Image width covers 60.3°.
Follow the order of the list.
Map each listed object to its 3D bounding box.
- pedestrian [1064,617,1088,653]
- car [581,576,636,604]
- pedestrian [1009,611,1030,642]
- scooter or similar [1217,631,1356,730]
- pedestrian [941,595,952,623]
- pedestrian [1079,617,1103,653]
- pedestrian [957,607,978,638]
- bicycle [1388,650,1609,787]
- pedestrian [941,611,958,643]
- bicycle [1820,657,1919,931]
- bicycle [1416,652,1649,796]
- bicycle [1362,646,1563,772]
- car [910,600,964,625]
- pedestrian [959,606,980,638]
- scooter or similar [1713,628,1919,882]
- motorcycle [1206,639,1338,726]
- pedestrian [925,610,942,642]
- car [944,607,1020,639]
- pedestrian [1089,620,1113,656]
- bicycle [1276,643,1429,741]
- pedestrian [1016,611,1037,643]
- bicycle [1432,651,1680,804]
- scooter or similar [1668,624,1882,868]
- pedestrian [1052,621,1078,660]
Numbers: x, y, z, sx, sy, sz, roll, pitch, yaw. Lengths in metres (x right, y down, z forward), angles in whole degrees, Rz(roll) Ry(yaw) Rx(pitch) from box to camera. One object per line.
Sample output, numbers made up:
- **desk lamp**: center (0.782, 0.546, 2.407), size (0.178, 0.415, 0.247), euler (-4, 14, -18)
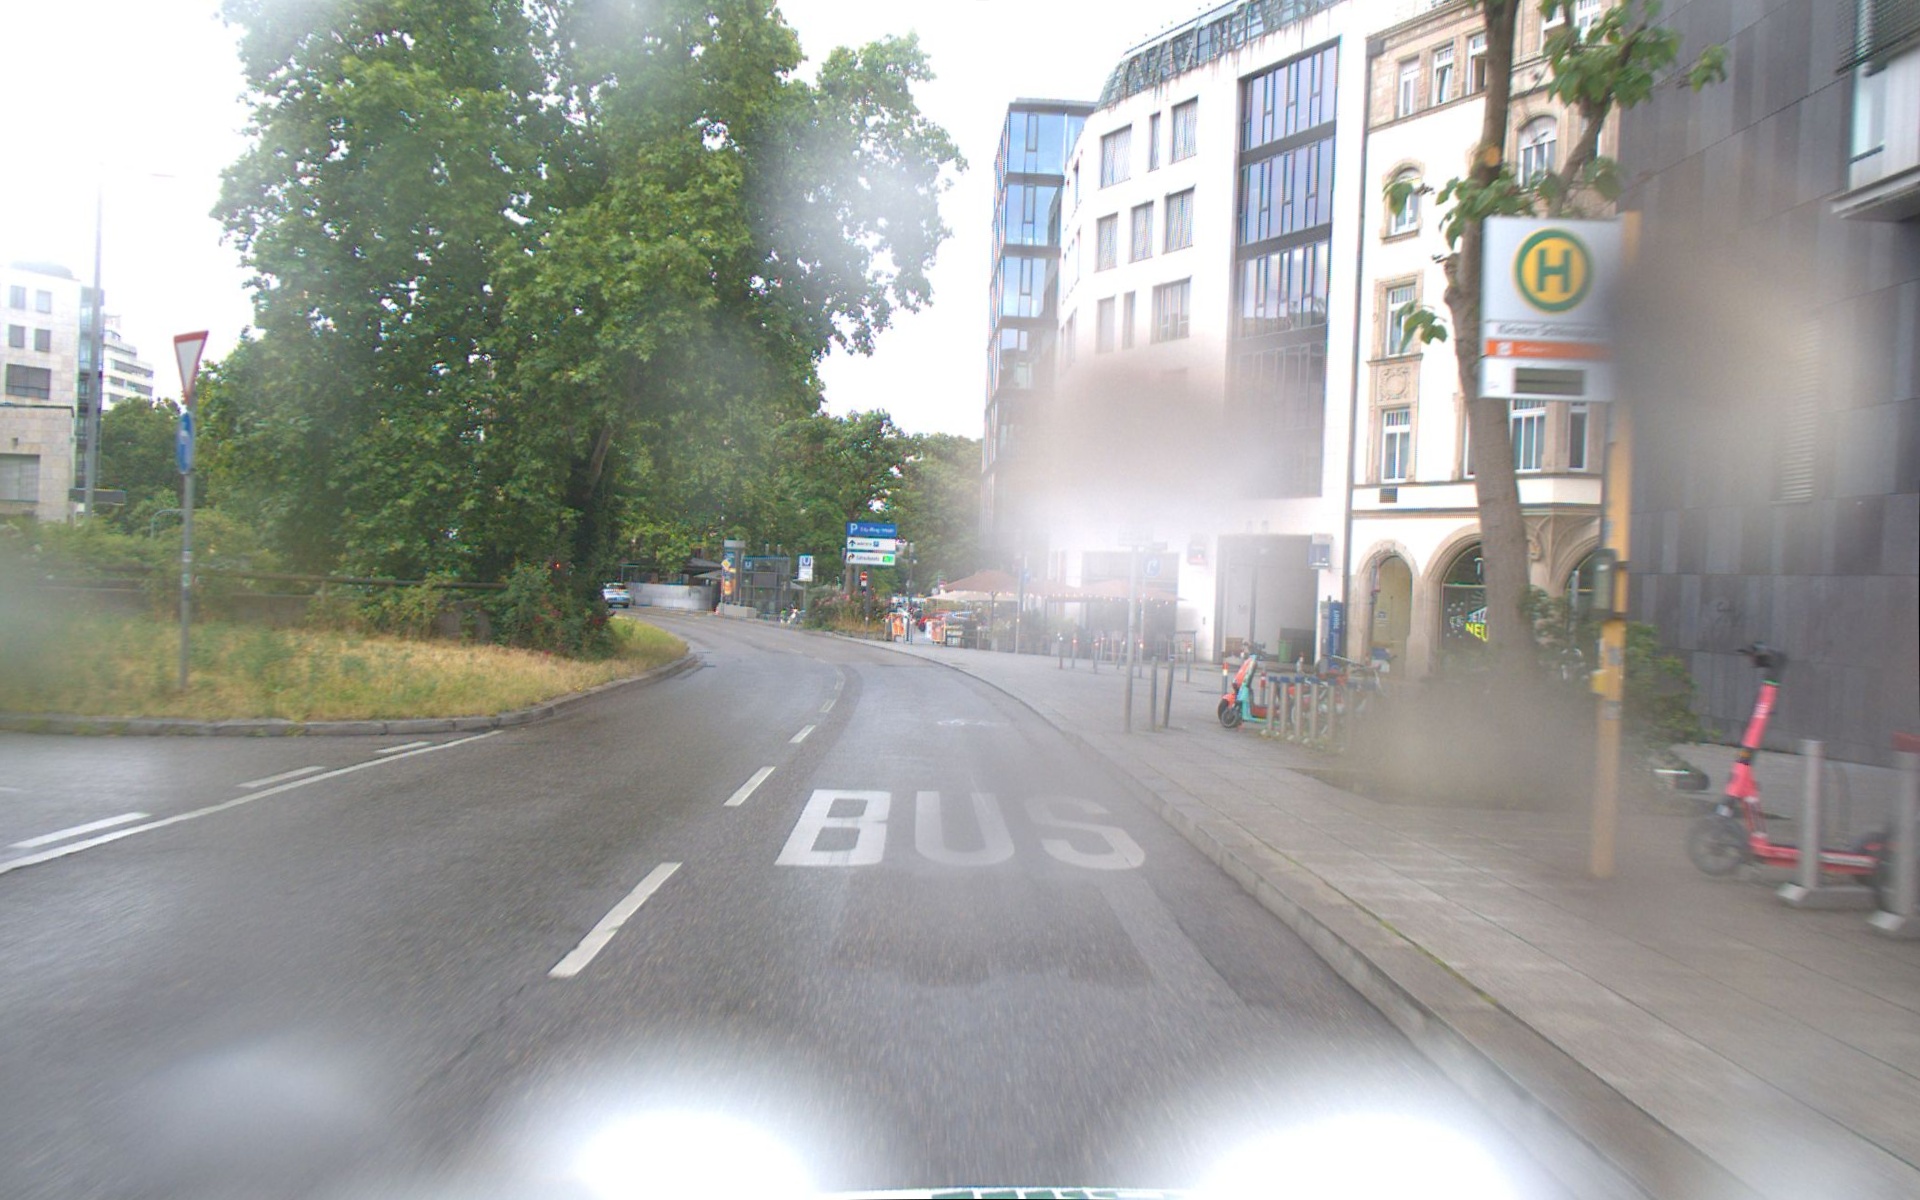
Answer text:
- **pedestrian**: center (4.606, 1.382, 65.815), size (0.619, 1.349, 0.630), euler (5, -1, -26)
- **car**: center (-23.767, -0.695, 111.772), size (1.934, 1.695, 4.285), euler (3, -1, -39)
- **pedestrian**: center (2.725, 1.191, 75.513), size (0.801, 1.349, 0.635), euler (4, -1, -6)
- **scooter or similar**: center (4.585, 1.125, 23.270), size (1.758, 1.265, 0.595), euler (4, -1, -7)
- **pedestrian**: center (-0.984, 0.650, 118.020), size (0.611, 1.967, 0.788), euler (3, -1, 5)
- **pedestrian**: center (5.115, 1.376, 64.606), size (0.619, 1.349, 0.630), euler (5, -1, -26)
- **pedestrian**: center (0.346, 1.009, 75.467), size (0.801, 1.349, 0.635), euler (4, -1, -6)
- **bicycle**: center (4.781, 1.049, 14.714), size (1.760, 1.087, 0.555), euler (4, -1, -6)
- **pedestrian**: center (-0.461, 1.202, 72.679), size (0.594, 1.349, 0.567), euler (4, -1, -6)
- **bicycle**: center (4.823, 0.870, 7.516), size (1.505, 1.160, 0.661), euler (2, -1, -8)
- **bicycle**: center (4.852, 1.046, 14.044), size (1.760, 1.087, 0.555), euler (4, -1, -6)
- **bicycle**: center (5.015, 1.084, 16.535), size (1.760, 1.127, 0.669), euler (4, -1, -7)
- **car**: center (-1.569, 0.853, 111.391), size (3.471, 1.440, 1.602), euler (4, -1, 45)
- **pedestrian**: center (0.444, 0.994, 74.727), size (0.801, 1.349, 0.635), euler (4, -1, -6)
- **scooter or similar**: center (4.550, 0.808, 8.669), size (1.085, 1.280, 0.302), euler (2, -1, -9)
- **motorcycle**: center (4.561, 1.204, 24.214), size (1.758, 1.159, 0.595), euler (4, -1, -7)
- **pedestrian**: center (-1.157, 1.127, 72.631), size (0.594, 1.349, 0.567), euler (4, -1, -6)
- **car**: center (1.355, 1.430, 103.583), size (4.640, 1.720, 2.004), euler (3, 0, -2)
- **pedestrian**: center (5.430, 1.463, 63.805), size (0.619, 1.349, 0.630), euler (5, -1, -26)
- **bicycle**: center (5.049, 1.181, 21.317), size (1.760, 1.127, 0.669), euler (4, -1, -7)
- **pedestrian**: center (2.989, 1.209, 74.602), size (0.801, 1.349, 0.635), euler (4, -1, -6)
- **bicycle**: center (4.743, 1.006, 13.199), size (1.760, 1.087, 0.555), euler (4, -1, -6)
- **scooter or similar**: center (4.446, 0.789, 9.028), size (1.040, 1.280, 0.302), euler (2, -1, -9)
- **pedestrian**: center (3.773, 1.452, 59.477), size (0.759, 1.349, 0.635), euler (4, -1, -6)
